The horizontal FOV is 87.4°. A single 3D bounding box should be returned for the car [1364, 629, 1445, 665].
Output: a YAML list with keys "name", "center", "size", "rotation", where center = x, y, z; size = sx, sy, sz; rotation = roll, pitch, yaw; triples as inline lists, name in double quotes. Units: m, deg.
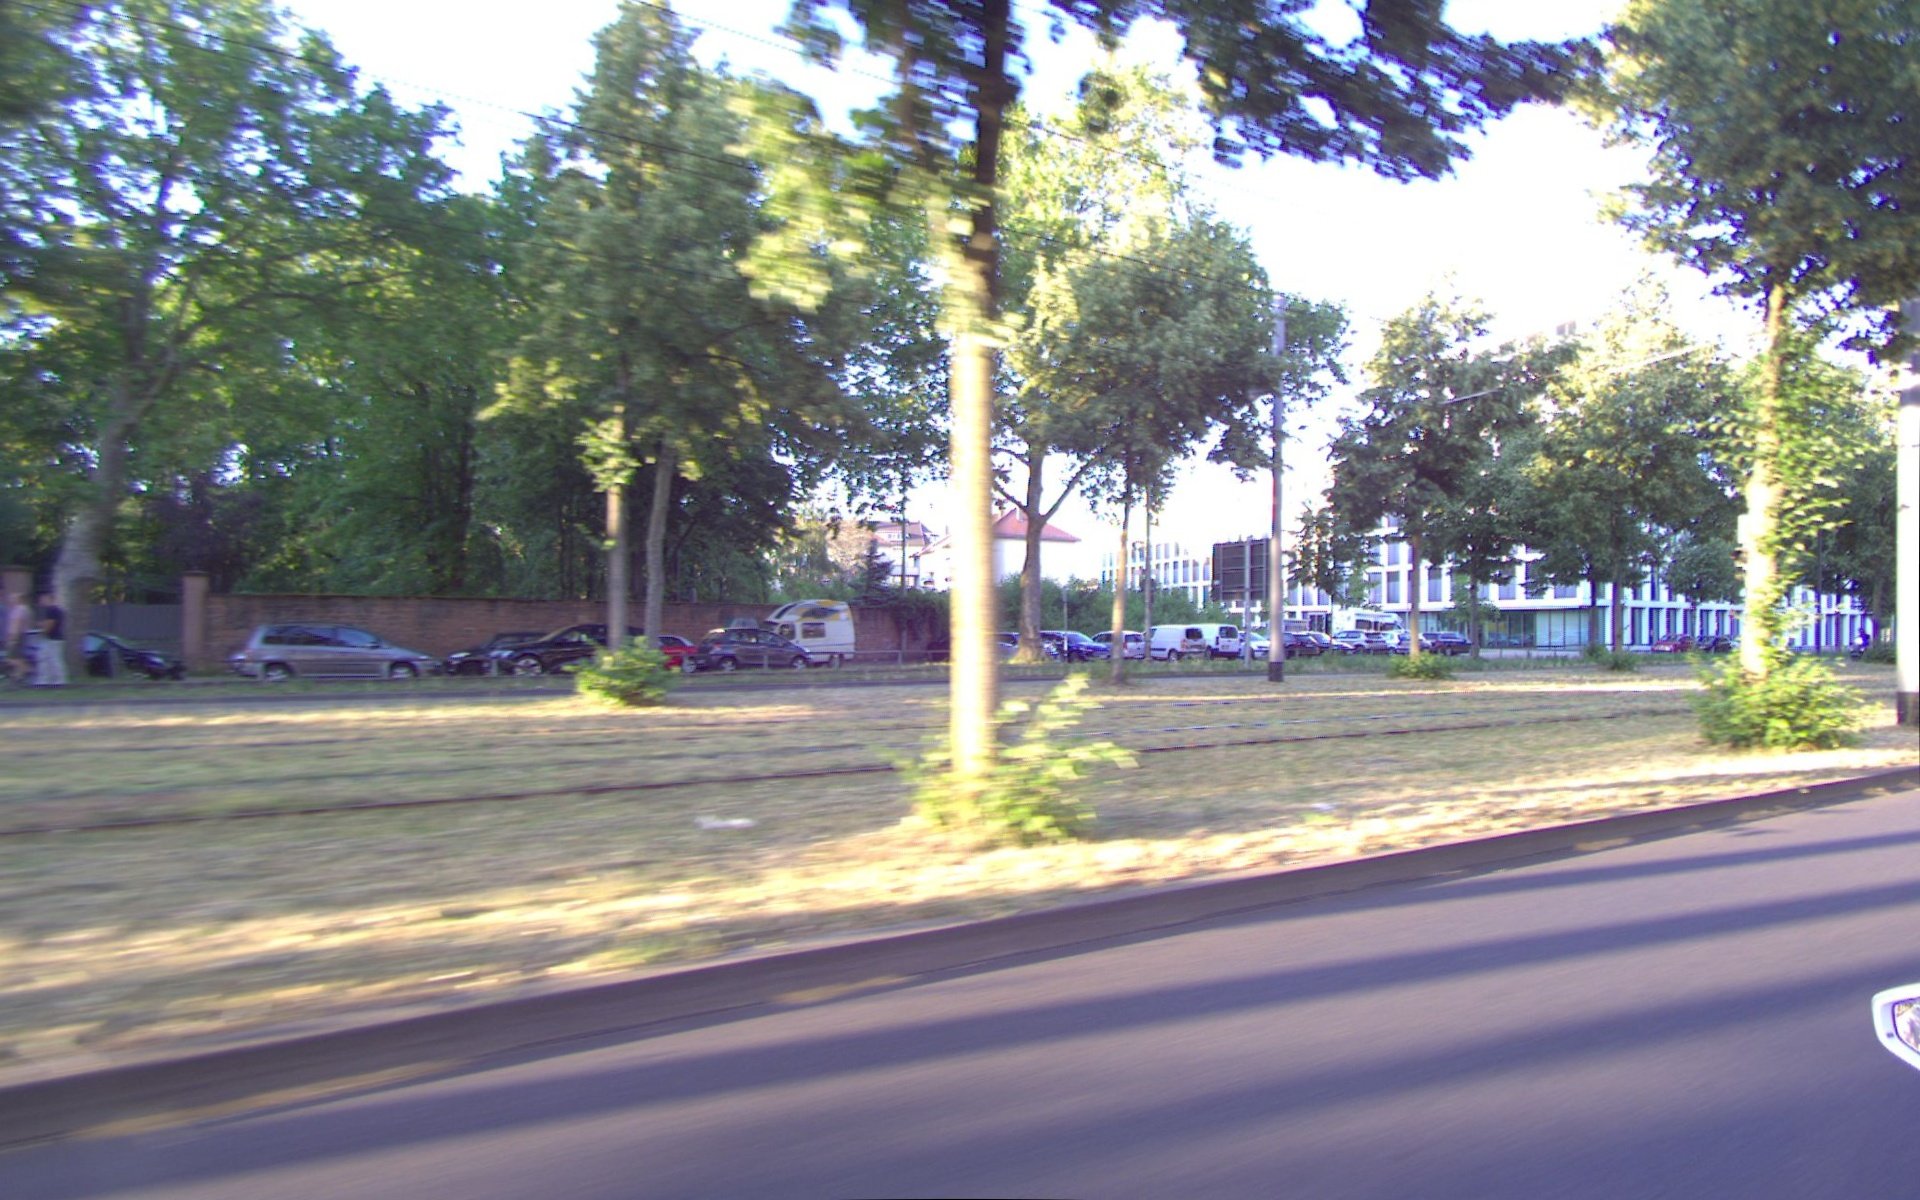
- name: "car"
  center: [26.277, 2.762, 59.505]
  size: [1.979, 2.040, 3.964]
  rotation: [2, -2, -33]

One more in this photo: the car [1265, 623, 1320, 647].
- name: "car"
  center: [26.136, 2.728, 78.966]
  size: [3.949, 1.835, 1.909]
  rotation: [1, -1, -27]

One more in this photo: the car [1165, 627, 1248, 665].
- name: "car"
  center: [12.596, 2.332, 51.602]
  size: [1.988, 1.869, 3.969]
  rotation: [1, -2, -29]

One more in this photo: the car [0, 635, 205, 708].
- name: "car"
  center: [-20.163, 1.622, 23.405]
  size: [3.786, 1.581, 1.797]
  rotation: [1, -2, -26]

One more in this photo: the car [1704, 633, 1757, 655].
- name: "car"
  center: [58.278, 3.352, 75.965]
  size: [3.739, 1.602, 1.852]
  rotation: [1, -1, -30]

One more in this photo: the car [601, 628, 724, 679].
- name: "car"
  center: [-10.898, 1.937, 36.782]
  size: [3.954, 1.773, 1.984]
  rotation: [2, -2, -31]

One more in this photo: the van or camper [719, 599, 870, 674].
- name: "van or camper"
  center: [-6.446, 1.435, 39.384]
  size: [5.434, 2.771, 2.073]
  rotation: [2, -2, -32]

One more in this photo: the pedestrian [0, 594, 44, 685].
- name: "pedestrian"
  center: [-19.082, 0.791, 20.203]
  size: [0.858, 1.782, 0.688]
  rotation: [2, -2, -38]

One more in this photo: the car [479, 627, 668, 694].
- name: "car"
  center: [-10.961, 1.673, 28.578]
  size: [4.736, 1.773, 1.983]
  rotation: [2, -2, -31]

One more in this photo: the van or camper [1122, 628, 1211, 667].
- name: "van or camper"
  center: [10.196, 2.302, 49.737]
  size: [1.984, 1.815, 3.954]
  rotation: [1, -2, -40]

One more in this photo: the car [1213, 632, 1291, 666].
- name: "car"
  center: [15.208, 2.507, 52.490]
  size: [1.895, 1.661, 3.978]
  rotation: [1, -2, -23]

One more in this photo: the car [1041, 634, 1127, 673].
- name: "car"
  center: [5.720, 2.453, 46.832]
  size: [1.902, 1.661, 3.964]
  rotation: [1, -2, -33]

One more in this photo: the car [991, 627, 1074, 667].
- name: "car"
  center: [3.184, 2.072, 44.889]
  size: [1.898, 1.661, 3.971]
  rotation: [1, -2, -28]

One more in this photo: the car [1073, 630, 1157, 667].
- name: "car"
  center: [7.428, 2.316, 48.501]
  size: [1.902, 1.661, 3.964]
  rotation: [1, -2, -33]

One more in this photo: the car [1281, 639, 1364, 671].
- name: "car"
  center: [19.770, 2.975, 54.950]
  size: [1.902, 1.661, 3.964]
  rotation: [1, -2, -33]

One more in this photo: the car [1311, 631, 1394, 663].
- name: "car"
  center: [21.901, 2.592, 56.153]
  size: [1.902, 1.661, 3.964]
  rotation: [1, -2, -33]

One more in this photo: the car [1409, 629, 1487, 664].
- name: "car"
  center: [29.780, 2.809, 61.283]
  size: [4.876, 2.040, 1.984]
  rotation: [2, -2, -31]

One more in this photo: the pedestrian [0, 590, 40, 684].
- name: "pedestrian"
  center: [-18.290, 0.708, 19.223]
  size: [0.857, 1.766, 0.689]
  rotation: [1, -2, -32]

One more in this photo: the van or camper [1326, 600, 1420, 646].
- name: "van or camper"
  center: [28.783, 1.613, 69.919]
  size: [6.181, 3.126, 2.701]
  rotation: [1, -1, -27]

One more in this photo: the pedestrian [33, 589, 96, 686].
- name: "pedestrian"
  center: [-17.961, 0.752, 20.166]
  size: [0.858, 1.895, 0.688]
  rotation: [2, -2, -38]

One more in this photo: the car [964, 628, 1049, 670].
- name: "car"
  center: [1.910, 2.055, 42.804]
  size: [1.898, 1.661, 3.972]
  rotation: [1, -2, -27]

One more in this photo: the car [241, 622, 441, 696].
- name: "car"
  center: [-15.636, 1.475, 25.667]
  size: [4.104, 1.773, 1.988]
  rotation: [1, -2, -25]

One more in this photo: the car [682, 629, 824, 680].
- name: "car"
  center: [-6.521, 1.696, 31.793]
  size: [3.962, 1.505, 1.980]
  rotation: [2, -2, -36]

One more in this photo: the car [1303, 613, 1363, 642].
- name: "car"
  center: [26.980, 2.025, 72.617]
  size: [3.953, 2.040, 1.984]
  rotation: [2, -2, -30]

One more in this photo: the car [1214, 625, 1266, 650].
- name: "car"
  center: [23.442, 3.162, 84.003]
  size: [3.952, 2.040, 1.985]
  rotation: [2, -2, -30]

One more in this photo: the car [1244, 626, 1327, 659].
- name: "car"
  center: [17.426, 2.253, 53.859]
  size: [1.902, 1.661, 3.964]
  rotation: [1, -2, -33]

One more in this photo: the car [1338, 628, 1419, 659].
- name: "car"
  center: [23.896, 2.455, 57.458]
  size: [1.902, 1.661, 3.964]
  rotation: [1, -2, -33]

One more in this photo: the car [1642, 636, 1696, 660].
- name: "car"
  center: [49.818, 3.381, 70.594]
  size: [3.450, 1.602, 1.852]
  rotation: [1, -1, -30]
